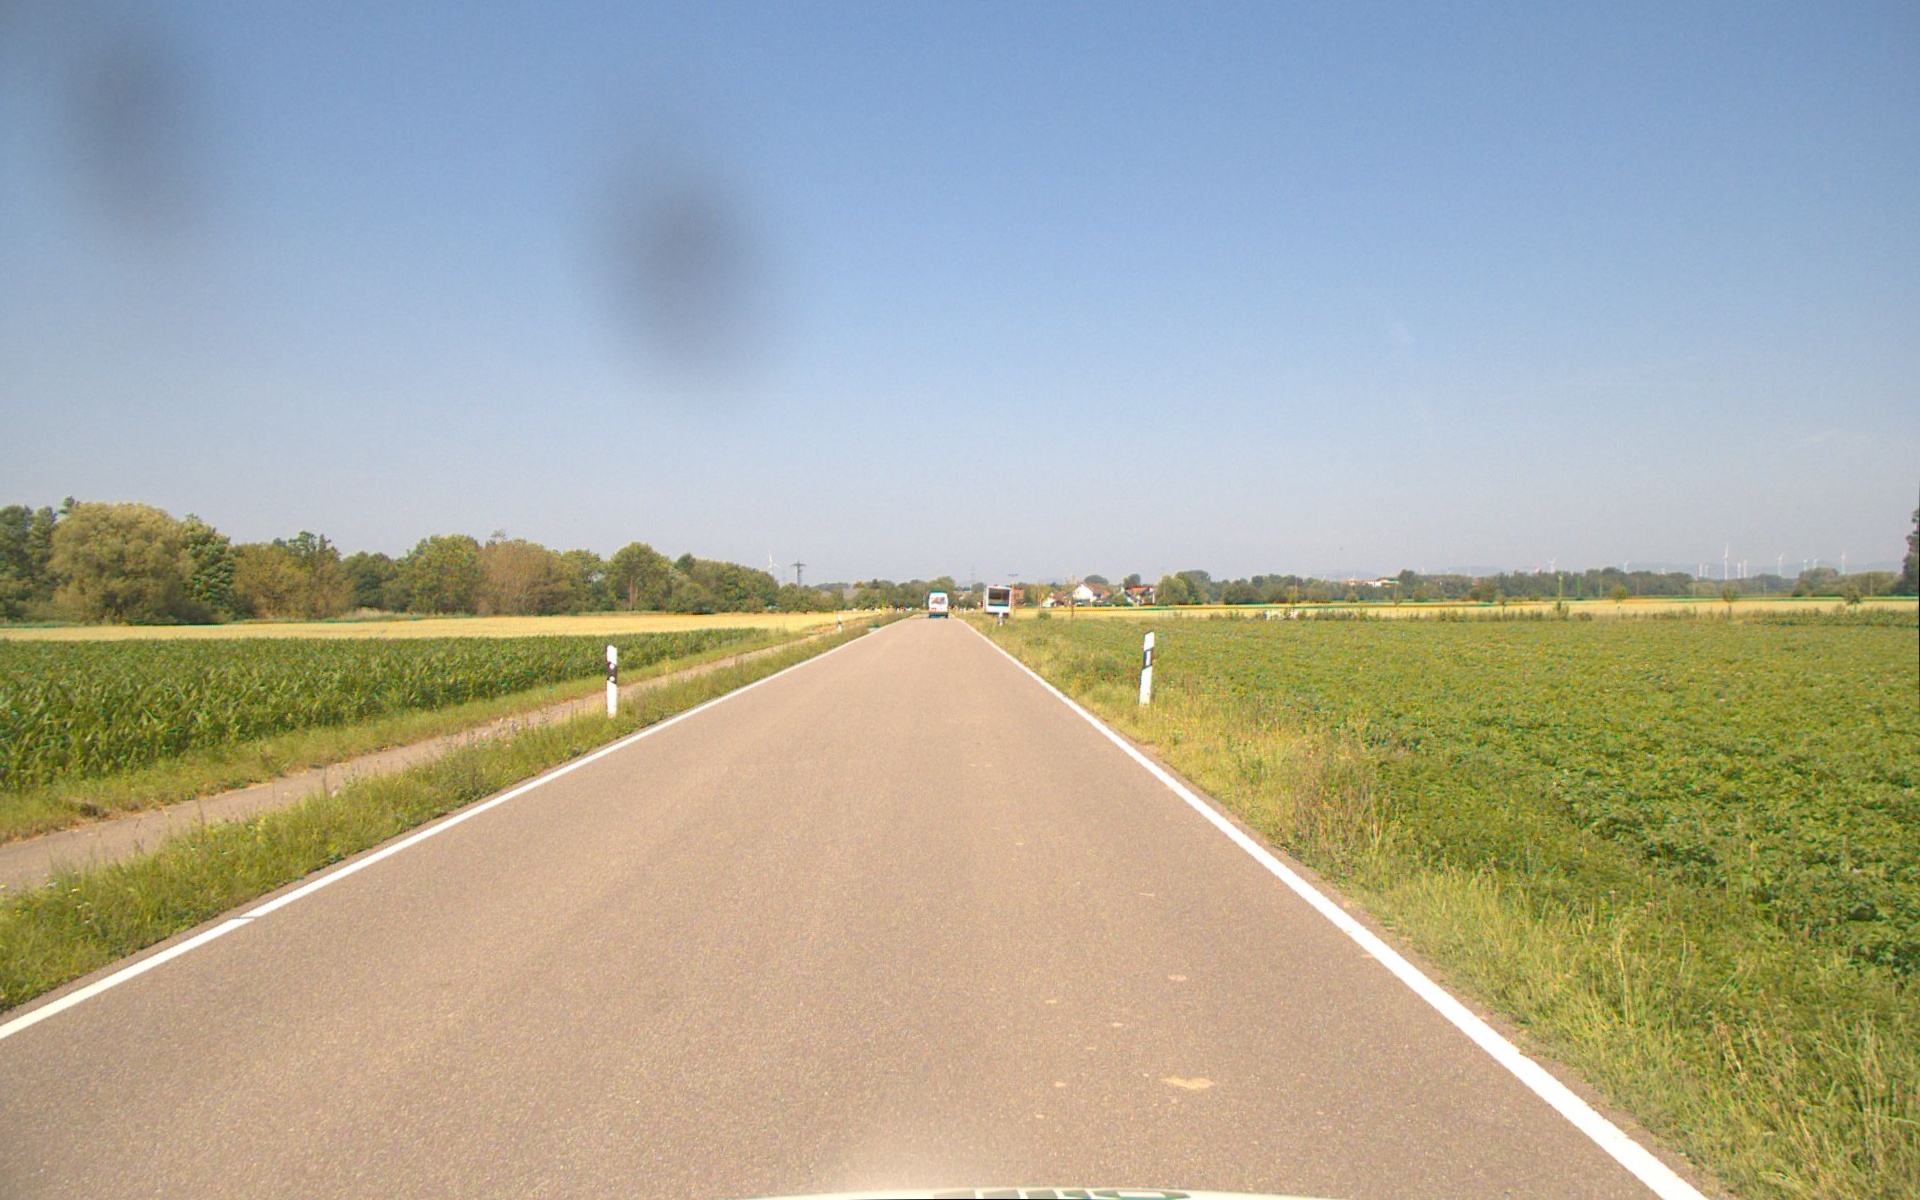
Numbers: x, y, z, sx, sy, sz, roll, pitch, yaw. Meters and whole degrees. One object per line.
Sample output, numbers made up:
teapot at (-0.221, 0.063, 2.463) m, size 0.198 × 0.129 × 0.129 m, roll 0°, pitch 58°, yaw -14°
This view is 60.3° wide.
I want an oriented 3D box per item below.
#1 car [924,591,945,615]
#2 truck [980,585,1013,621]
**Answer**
car at (-2.620, 0.306, 169.001) m, size 2.064 × 2.344 × 5.494 m, roll 1°, pitch -1°, yaw -1°
truck at (3.097, 0.269, 142.613) m, size 2.289 × 2.994 × 7.004 m, roll 2°, pitch -1°, yaw -3°
